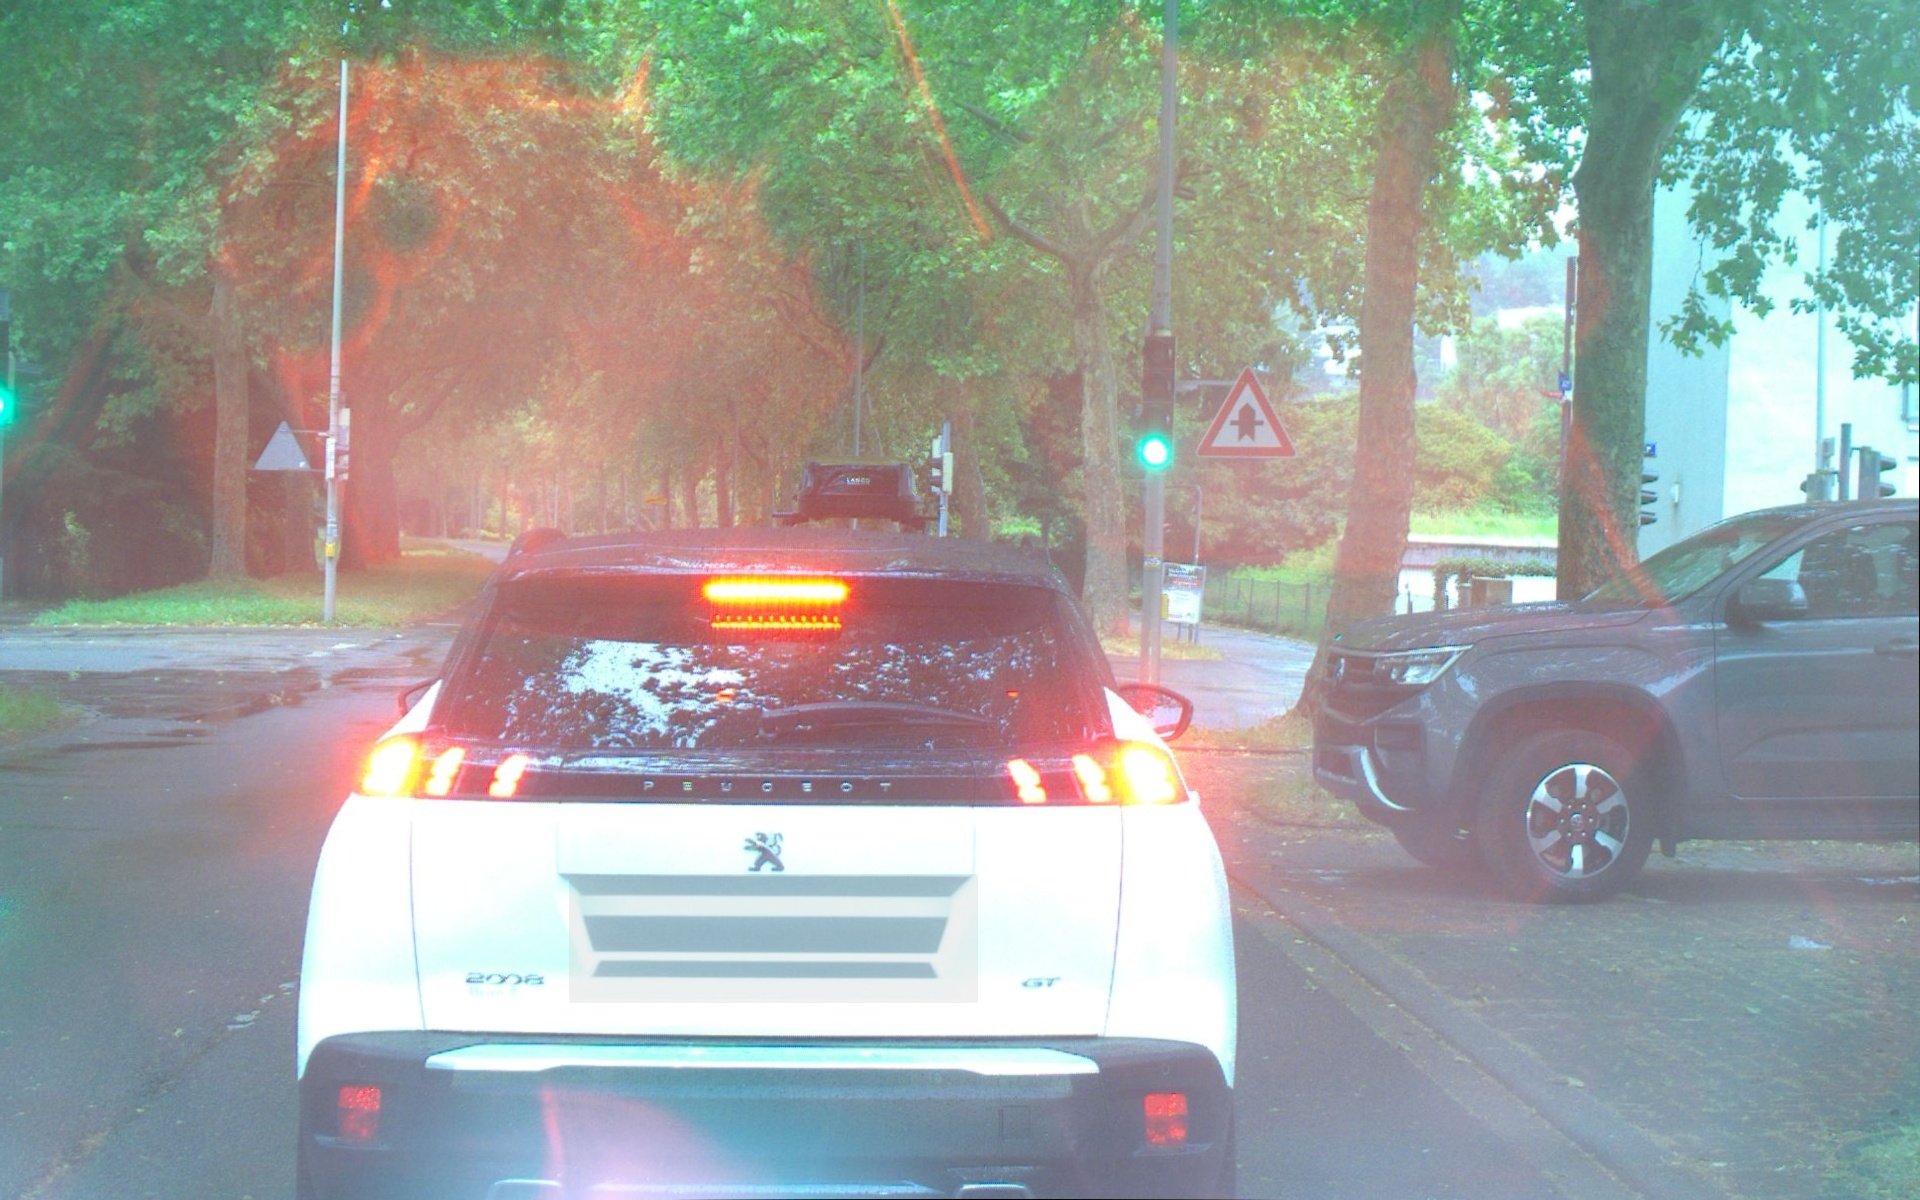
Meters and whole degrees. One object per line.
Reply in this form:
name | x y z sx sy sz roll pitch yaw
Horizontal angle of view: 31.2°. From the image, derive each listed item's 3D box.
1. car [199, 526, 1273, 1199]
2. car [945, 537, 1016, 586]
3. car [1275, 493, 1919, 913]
car | -0.416 0.616 7.801 1.780 1.531 4.058 1 1 -1
car | 0.647 -1.251 111.731 1.905 1.504 3.932 2 1 -5
car | 4.294 0.451 15.965 5.337 1.800 1.846 1 1 -7
